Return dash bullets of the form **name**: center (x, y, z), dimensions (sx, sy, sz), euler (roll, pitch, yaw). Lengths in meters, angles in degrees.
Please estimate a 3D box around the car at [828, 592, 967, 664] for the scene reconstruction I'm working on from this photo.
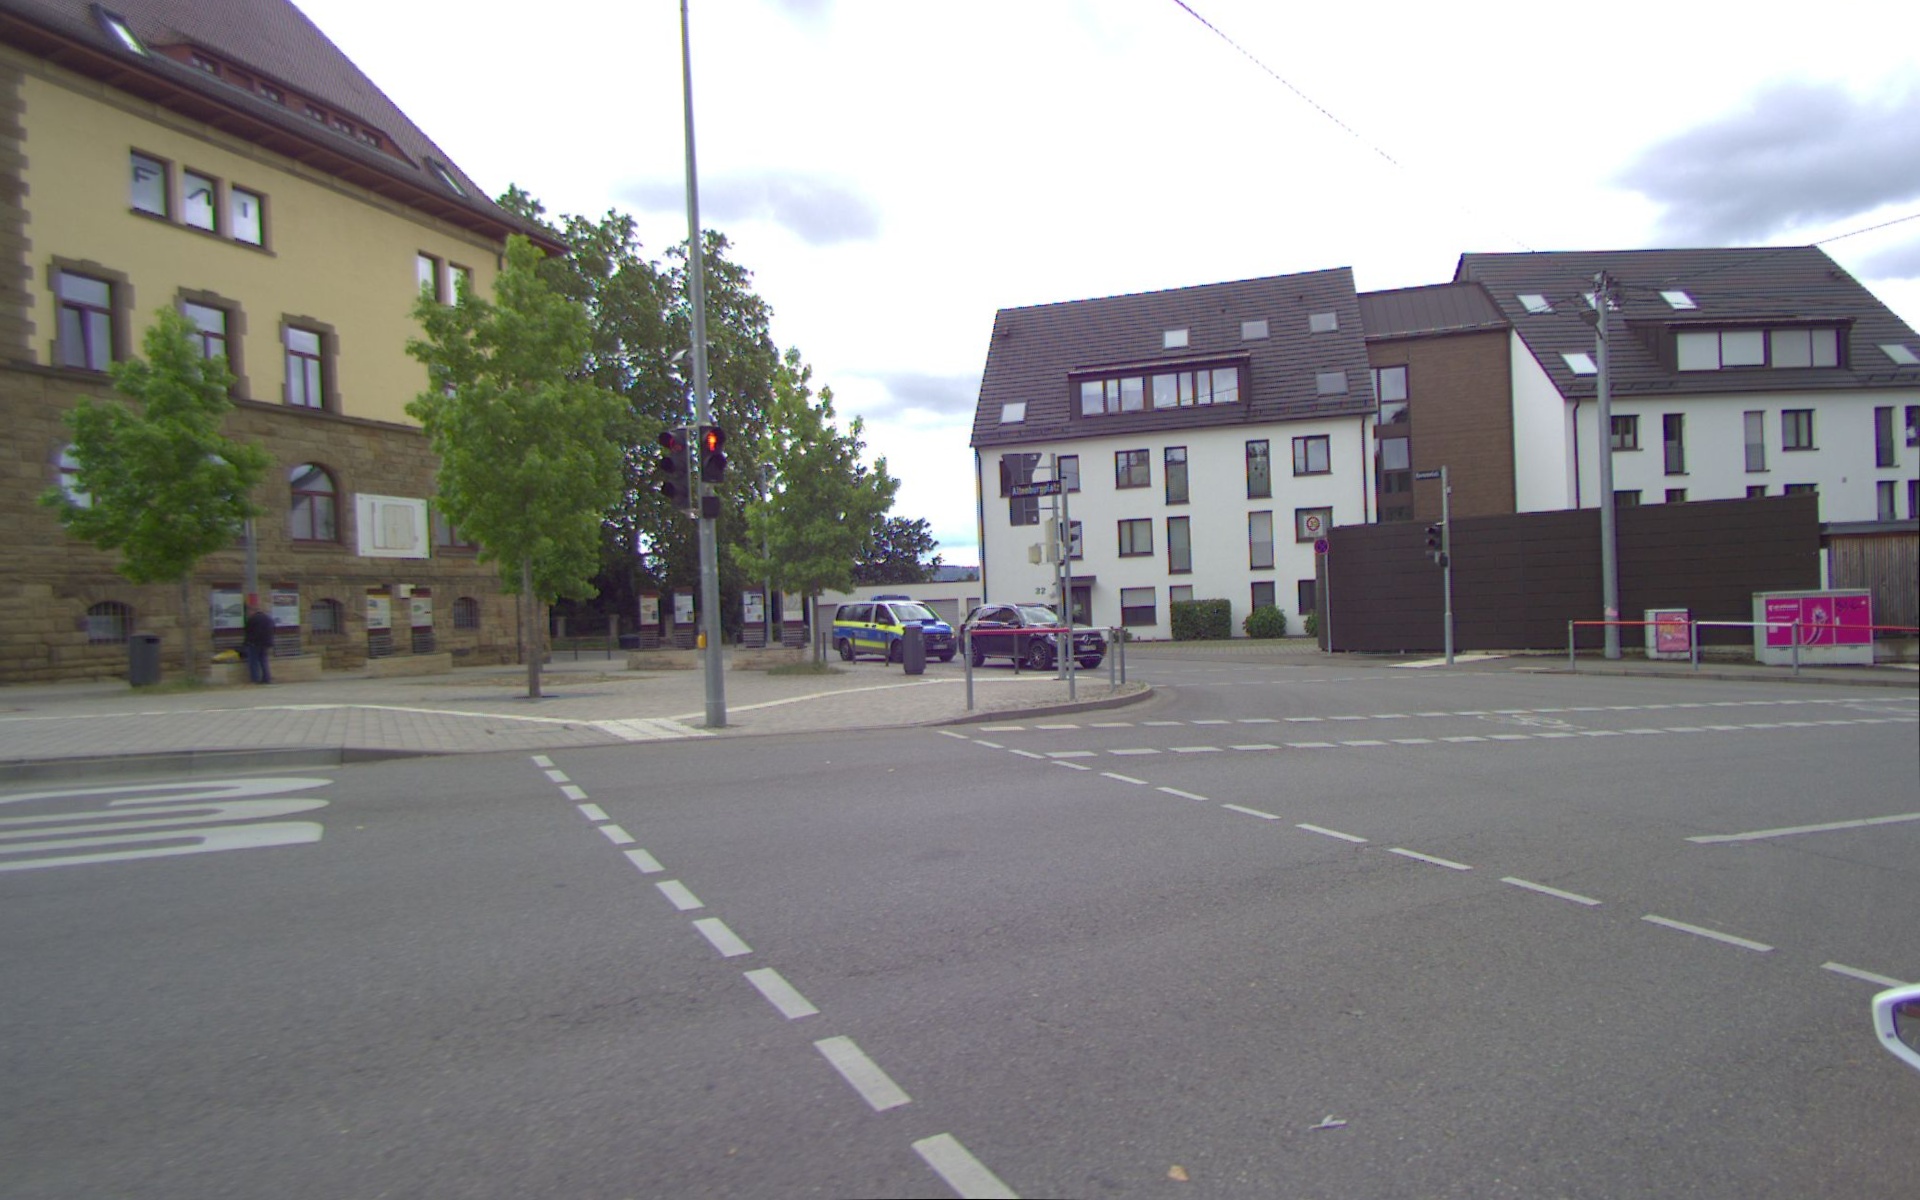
- **car**: center (-2.049, 0.835, 31.082), dimensions (1.980, 2.040, 5.041), euler (1, -1, -35)

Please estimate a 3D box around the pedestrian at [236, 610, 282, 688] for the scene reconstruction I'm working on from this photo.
- **pedestrian**: center (-14.579, 1.004, 20.894), dimensions (0.531, 1.598, 0.650), euler (0, -1, 37)

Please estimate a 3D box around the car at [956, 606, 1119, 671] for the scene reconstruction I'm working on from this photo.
- **car**: center (1.914, 0.948, 25.885), dimensions (1.980, 1.533, 4.232), euler (1, -2, -35)
